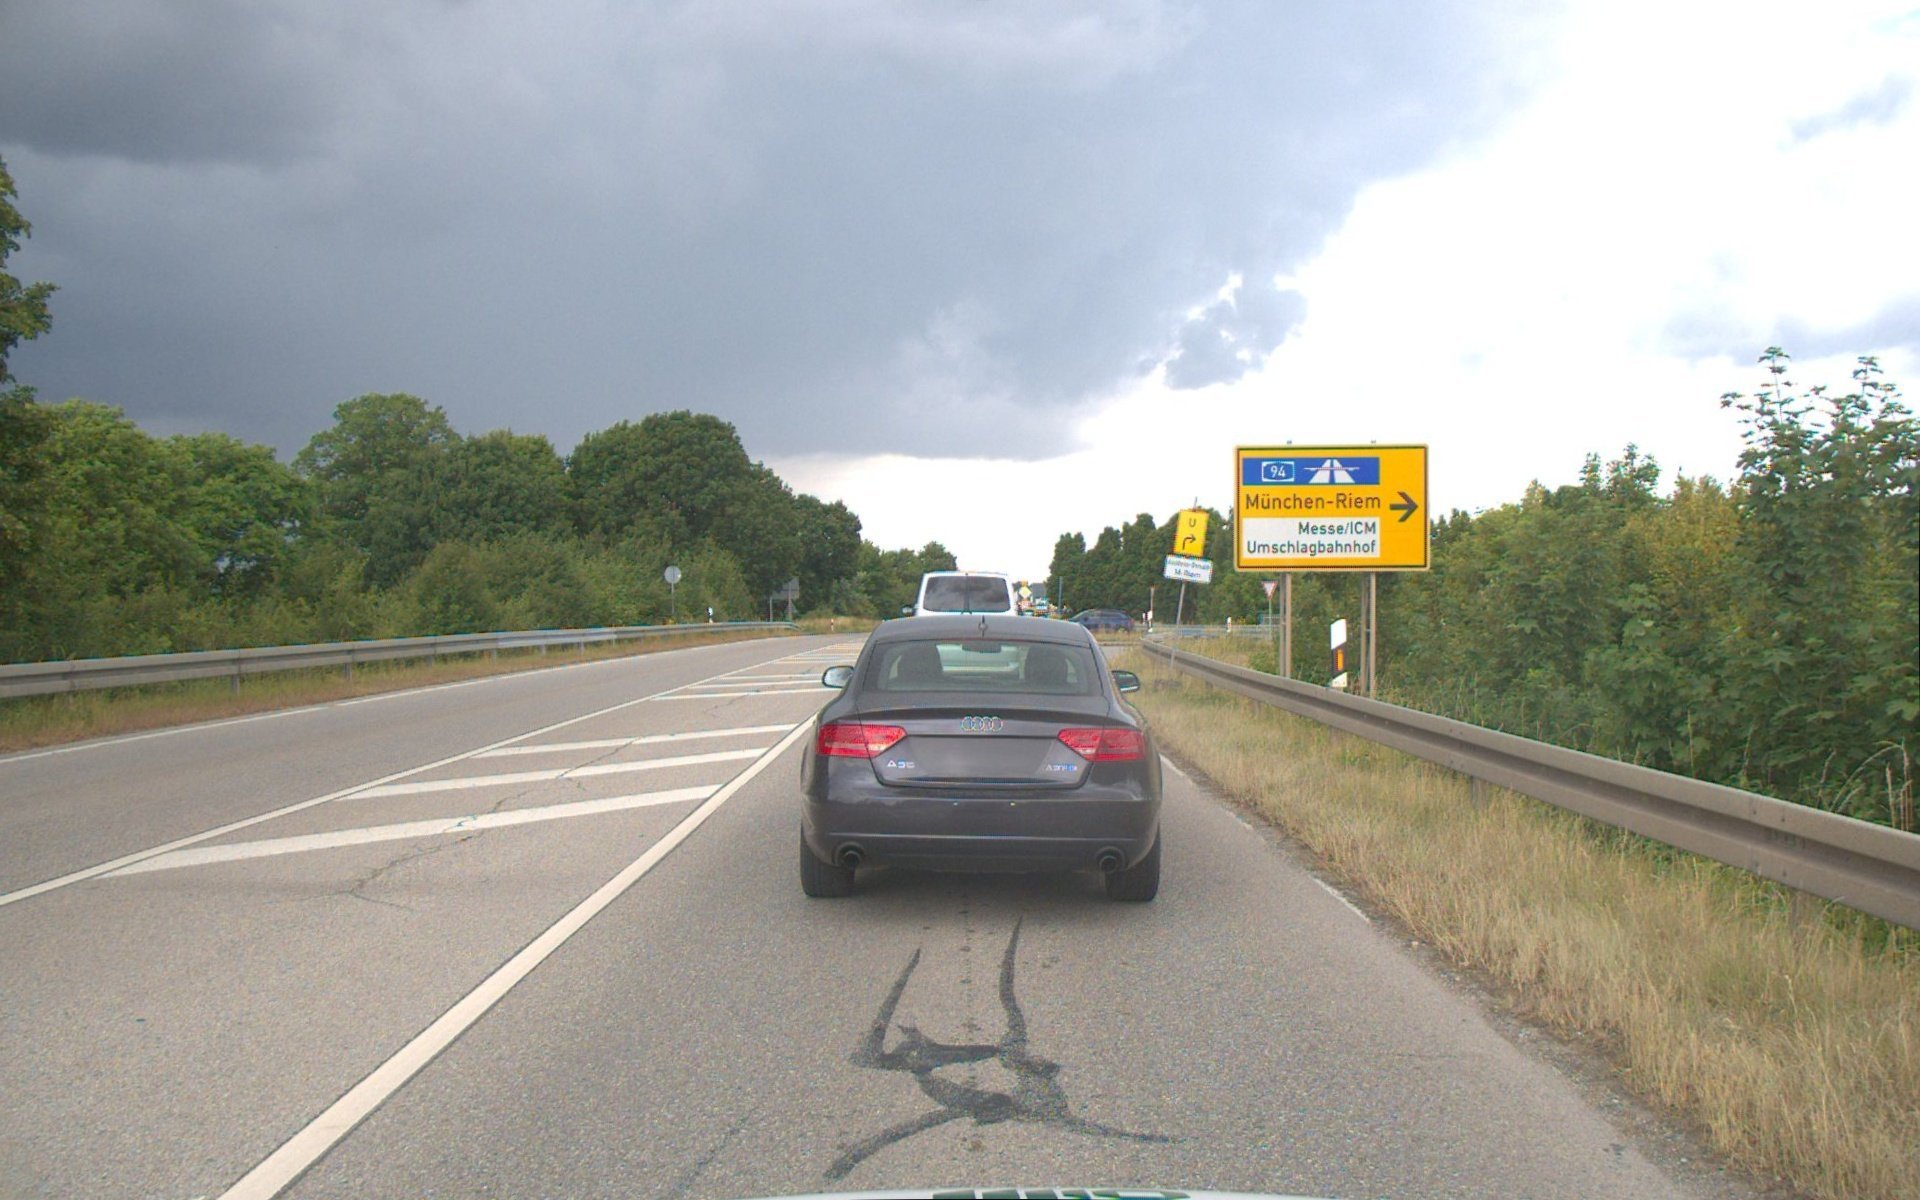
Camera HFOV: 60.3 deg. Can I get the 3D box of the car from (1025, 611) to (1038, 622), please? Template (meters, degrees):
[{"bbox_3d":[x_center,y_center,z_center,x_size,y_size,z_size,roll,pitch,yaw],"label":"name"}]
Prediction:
[{"bbox_3d":[11.191,2.586,260.109,1.952,1.722,4.001,1,0,2],"label":"car"}]

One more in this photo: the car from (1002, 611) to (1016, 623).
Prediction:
[{"bbox_3d":[6.493,2.209,220.066,1.699,1.479,3.999,1,0,-1],"label":"car"}]

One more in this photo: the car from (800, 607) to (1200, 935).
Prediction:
[{"bbox_3d":[0.153,0.756,8.906,1.743,1.423,3.336,0,0,-1],"label":"car"}]

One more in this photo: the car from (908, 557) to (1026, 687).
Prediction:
[{"bbox_3d":[0.090,0.346,28.605,1.871,2.049,3.999,1,0,-1],"label":"car"}]
